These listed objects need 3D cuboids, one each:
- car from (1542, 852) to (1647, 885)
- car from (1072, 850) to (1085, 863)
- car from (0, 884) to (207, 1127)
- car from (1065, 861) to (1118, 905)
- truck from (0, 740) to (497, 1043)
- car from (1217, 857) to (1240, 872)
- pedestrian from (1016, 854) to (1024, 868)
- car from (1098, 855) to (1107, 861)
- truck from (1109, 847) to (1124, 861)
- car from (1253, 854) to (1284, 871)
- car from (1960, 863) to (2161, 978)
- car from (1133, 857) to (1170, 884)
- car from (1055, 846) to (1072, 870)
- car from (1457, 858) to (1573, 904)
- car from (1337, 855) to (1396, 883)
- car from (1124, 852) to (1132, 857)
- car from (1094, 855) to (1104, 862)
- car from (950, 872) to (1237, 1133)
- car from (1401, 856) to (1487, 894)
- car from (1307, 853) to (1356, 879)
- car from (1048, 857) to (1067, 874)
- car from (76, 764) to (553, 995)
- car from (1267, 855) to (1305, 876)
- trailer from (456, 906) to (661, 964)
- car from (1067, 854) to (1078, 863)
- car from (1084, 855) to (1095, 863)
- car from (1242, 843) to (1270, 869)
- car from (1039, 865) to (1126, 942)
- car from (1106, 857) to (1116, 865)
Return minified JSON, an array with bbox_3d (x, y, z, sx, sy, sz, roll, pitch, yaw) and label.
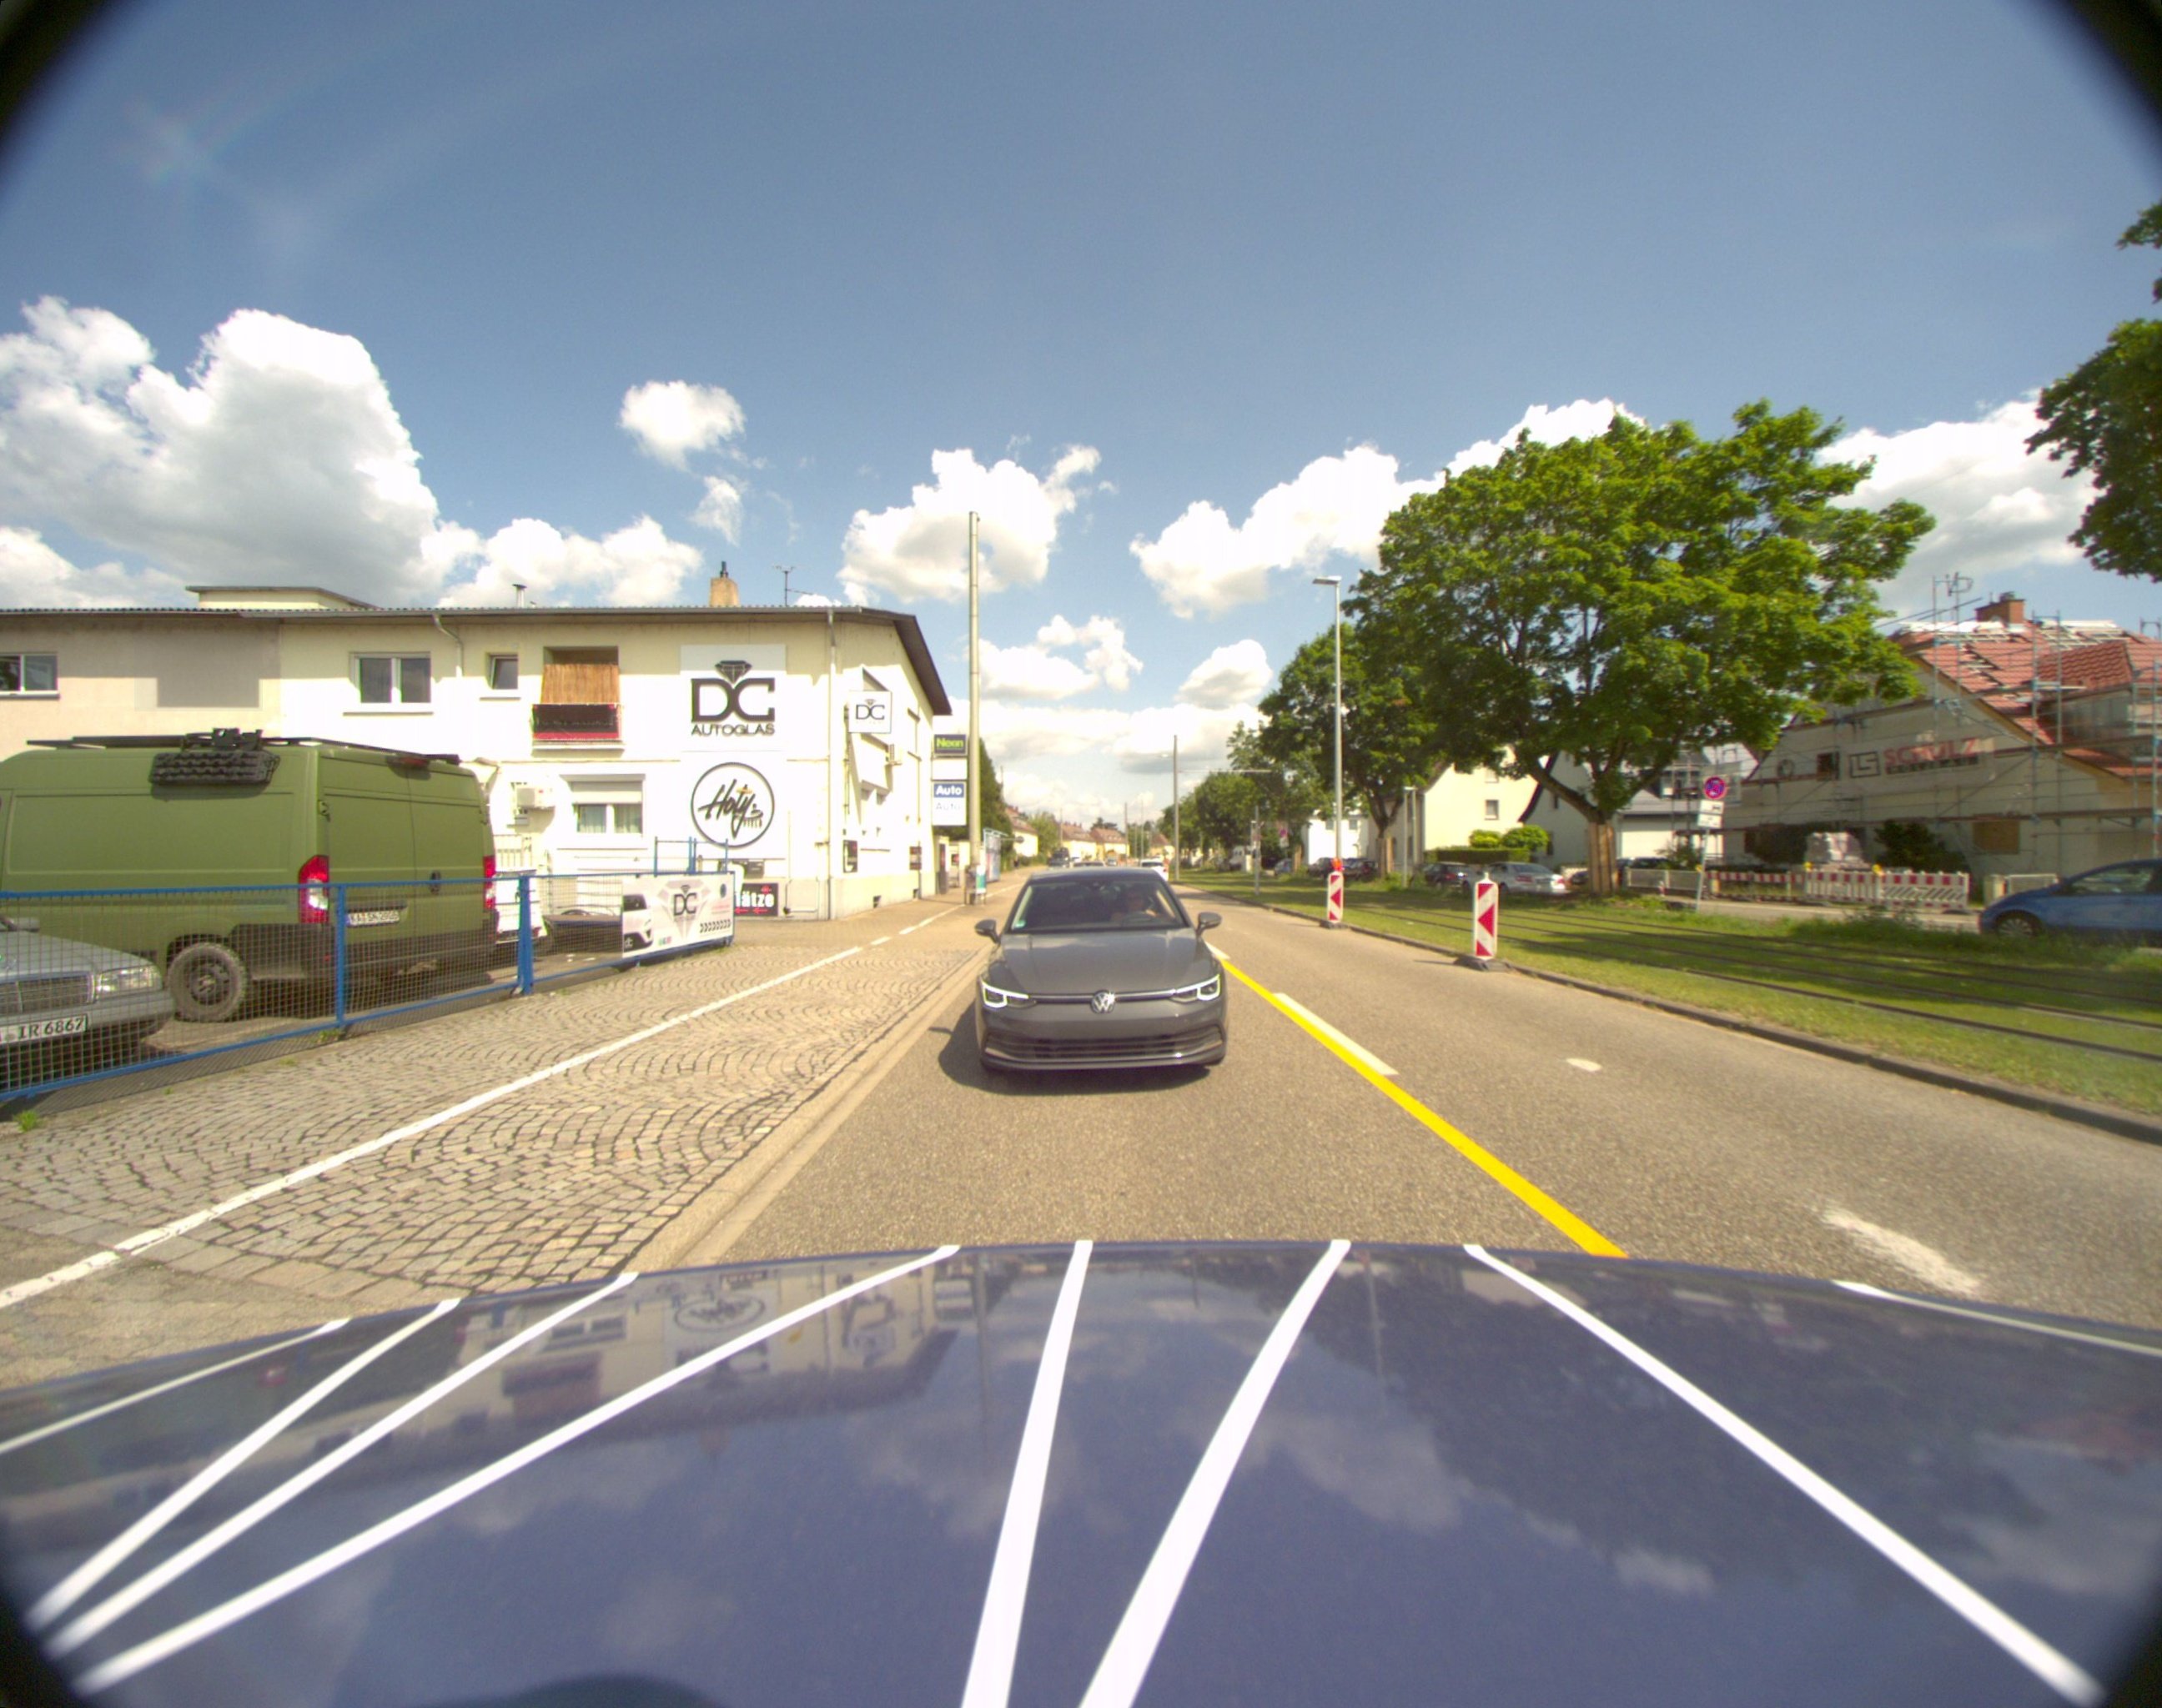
[{"bbox_3d":[25.513,0.725,37.831,4.047,1.602,1.757,0,0,1],"label":"car"},{"bbox_3d":[-0.430,0.408,136.321,1.719,2.360,5.211,0,0,5],"label":"car"},{"bbox_3d":[-8.435,0.919,4.808,4.206,1.388,1.804,0,0,8],"label":"car"},{"bbox_3d":[0.380,0.999,27.832,1.787,1.470,4.009,0,0,1],"label":"car"},{"bbox_3d":[-8.621,0.330,7.564,3.997,2.592,2.069,0,0,1],"label":"truck"},{"bbox_3d":[16.932,1.159,87.268,1.755,1.602,4.606,0,0,0],"label":"car"},{"bbox_3d":[-6.580,0.757,82.263,0.816,1.577,0.918,0,0,1],"label":"pedestrian"},{"bbox_3d":[5.175,1.008,179.084,1.718,1.470,4.011,0,0,8],"label":"car"},{"bbox_3d":[9.403,0.034,201.133,2.590,3.431,8.585,0,0,11],"label":"truck"},{"bbox_3d":[17.585,0.761,71.494,1.755,1.602,4.606,0,0,0],"label":"car"},{"bbox_3d":[16.217,0.961,11.230,1.755,1.602,4.050,0,0,0],"label":"car"},{"bbox_3d":[3.901,0.902,42.593,1.719,1.405,4.262,0,0,1],"label":"car"},{"bbox_3d":[-1.918,0.416,82.847,1.720,2.526,5.794,0,0,0],"label":"car"},{"bbox_3d":[16.390,0.968,29.005,1.755,1.602,4.606,0,0,0],"label":"car"},{"bbox_3d":[16.902,0.855,45.266,1.755,1.602,4.606,0,0,0],"label":"car"},{"bbox_3d":[13.528,0.248,218.476,1.718,1.470,4.013,0,0,13],"label":"car"},{"bbox_3d":[4.103,1.006,172.734,1.718,1.470,4.011,0,0,8],"label":"car"},{"bbox_3d":[0.102,0.939,6.559,1.719,1.470,4.009,0,0,1],"label":"car"},{"bbox_3d":[16.591,0.920,35.028,1.755,1.602,4.606,0,0,0],"label":"car"},{"bbox_3d":[16.680,0.768,50.906,1.755,1.602,4.606,0,0,0],"label":"car"},{"bbox_3d":[-2.160,1.071,70.985,1.720,1.470,4.009,0,0,0],"label":"car"},{"bbox_3d":[-9.453,0.303,9.649,4.209,2.653,1.803,0,0,0],"label":"car"},{"bbox_3d":[16.495,0.922,61.355,1.755,1.602,4.606,0,0,0],"label":"car"},{"bbox_3d":[-8.060,1.239,11.834,2.329,0.762,1.269,0,0,2],"label":"trailer"},{"bbox_3d":[-1.366,0.746,122.957,1.720,1.470,4.009,0,0,0],"label":"car"},{"bbox_3d":[1.813,0.998,155.300,1.718,1.470,4.011,0,0,8],"label":"car"},{"bbox_3d":[17.646,0.202,76.906,1.755,2.601,4.606,0,0,0],"label":"car"},{"bbox_3d":[0.058,1.009,17.022,1.719,1.470,4.009,0,0,1],"label":"car"},{"bbox_3d":[5.919,1.353,149.783,1.754,1.405,4.263,0,0,5],"label":"car"}]
